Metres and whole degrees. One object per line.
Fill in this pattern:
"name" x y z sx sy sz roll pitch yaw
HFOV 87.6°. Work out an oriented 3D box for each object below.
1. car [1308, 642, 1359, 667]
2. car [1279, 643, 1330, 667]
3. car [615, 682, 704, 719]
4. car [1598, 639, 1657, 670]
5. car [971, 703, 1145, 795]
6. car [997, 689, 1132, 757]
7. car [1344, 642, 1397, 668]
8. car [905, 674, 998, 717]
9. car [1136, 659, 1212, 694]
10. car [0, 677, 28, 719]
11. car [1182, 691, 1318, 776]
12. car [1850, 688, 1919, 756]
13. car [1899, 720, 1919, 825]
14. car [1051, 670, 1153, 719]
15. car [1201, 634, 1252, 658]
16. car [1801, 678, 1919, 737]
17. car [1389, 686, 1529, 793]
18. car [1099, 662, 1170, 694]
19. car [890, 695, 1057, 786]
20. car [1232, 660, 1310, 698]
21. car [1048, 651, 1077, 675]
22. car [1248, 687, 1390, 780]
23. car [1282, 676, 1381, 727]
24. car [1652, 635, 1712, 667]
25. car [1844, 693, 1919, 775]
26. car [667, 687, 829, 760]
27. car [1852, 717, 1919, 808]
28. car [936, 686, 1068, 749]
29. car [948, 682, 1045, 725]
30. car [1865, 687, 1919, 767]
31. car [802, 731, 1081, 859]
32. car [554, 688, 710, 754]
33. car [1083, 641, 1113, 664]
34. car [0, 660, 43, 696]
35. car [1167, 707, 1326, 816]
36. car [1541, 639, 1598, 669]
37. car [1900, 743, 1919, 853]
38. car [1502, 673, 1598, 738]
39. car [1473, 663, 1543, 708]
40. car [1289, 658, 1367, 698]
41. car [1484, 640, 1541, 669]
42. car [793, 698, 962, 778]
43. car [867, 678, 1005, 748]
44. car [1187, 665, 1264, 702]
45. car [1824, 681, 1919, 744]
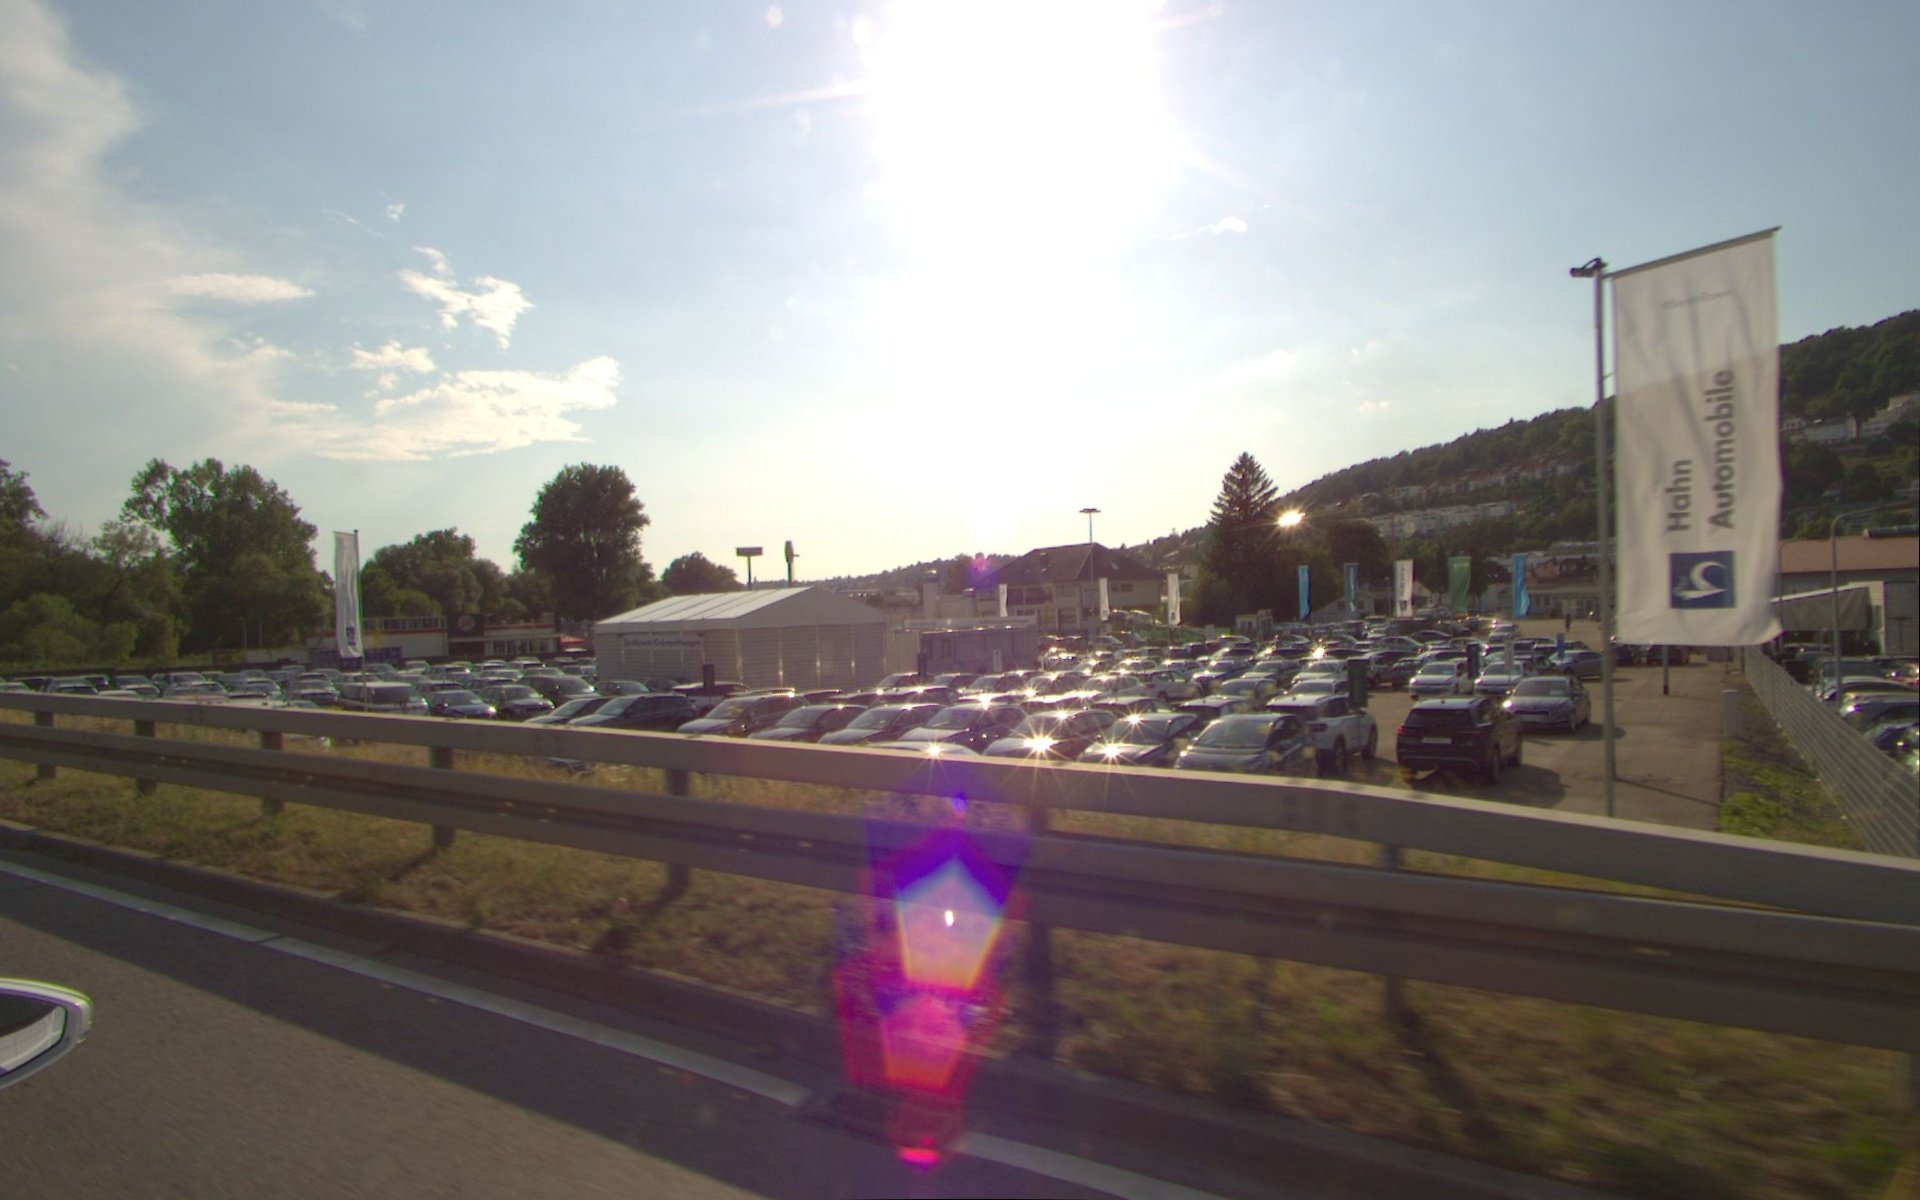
"car" 27.574 4.008 73.886 3.958 1.739 1.983 1 -2 -41
"car" 26.082 4.128 75.682 3.958 1.739 1.983 1 -2 -41
"car" -13.691 4.534 45.507 3.950 1.482 1.947 -3 -3 37
"car" 39.896 3.200 59.809 3.958 1.739 1.983 1 -2 -41
"car" 2.301 3.229 22.427 1.779 1.563 4.402 -2 -3 38
"car" 3.065 3.457 28.725 1.779 1.563 4.402 -2 -3 38
"car" 29.393 3.877 71.702 3.958 1.739 1.983 1 -2 -41
"car" -0.320 4.025 42.527 1.762 1.584 3.967 -3 -3 42
"car" 10.752 3.774 50.076 1.781 1.563 4.309 -3 -3 42
"car" -41.484 4.170 42.543 3.943 1.705 1.772 -2 -2 32
"car" 7.460 3.300 25.497 1.779 1.735 4.402 -2 -3 38
"car" 24.710 3.032 24.735 3.842 1.563 1.789 -3 -3 36
"car" 18.739 3.015 17.003 3.867 1.715 1.591 -3 -3 38
"car" 5.351 3.469 37.380 1.779 1.563 4.402 -2 -3 38
"car" 23.503 4.088 88.379 1.981 2.039 3.962 1 -3 -44
"car" 26.836 3.065 28.834 3.842 1.563 1.592 -3 -3 37
"car" 10.710 2.844 21.311 1.779 1.736 4.401 -2 -2 38
"car" 9.079 4.028 51.846 1.694 1.482 3.965 -3 -3 43
"car" 0.423 3.324 24.416 1.779 1.735 4.402 -2 -3 38
"car" 14.461 3.637 46.473 1.781 1.563 4.309 -3 -3 42
"car" 6.689 4.114 65.681 1.770 1.474 4.002 -1 -2 5
"car" 8.422 2.993 23.289 1.779 1.735 4.402 -2 -3 38
"car" 12.418 3.319 33.319 1.779 1.386 4.402 -3 -3 38
"car" 41.725 2.923 57.838 3.958 1.739 1.983 1 -2 -41
"car" 21.305 2.808 20.814 4.232 1.614 1.592 -3 -3 37
"car" -5.972 3.436 28.605 1.819 1.687 4.402 -2 -3 38
"car" 19.882 3.150 19.032 4.189 1.614 1.592 -3 -3 37
"car" 1.362 3.495 30.450 1.779 1.563 4.402 -2 -3 38
"car" 1.514 4.131 40.520 1.762 1.474 3.966 -3 -3 43
"car" 23.076 2.879 22.525 3.842 1.722 1.592 -3 -3 37
"car" -0.362 3.107 16.581 4.371 1.563 1.791 -2 -3 33
"car" -10.176 3.709 31.304 1.778 1.628 4.402 0 -1 38
"car" 9.427 3.571 68.505 1.770 1.474 4.002 -1 -2 5
"car" -47.969 3.928 50.462 3.947 1.705 1.770 -3 -3 35
"car" 5.605 2.991 19.267 1.763 1.563 3.963 -2 -3 34
"car" 37.590 3.316 61.732 3.958 1.739 1.983 1 -2 -41
"car" 17.049 3.163 15.347 3.621 1.631 1.592 -3 -3 36
"car" 17.079 2.978 28.886 1.779 1.563 4.402 -2 -3 38
"car" 22.030 3.387 40.185 1.779 1.563 4.315 -2 -3 38
"car" 16.394 3.420 44.490 1.781 1.563 4.309 -3 -3 42
"car" 35.155 3.427 63.653 3.958 1.739 1.983 1 -2 -41
"car" -2.010 3.436 25.596 1.779 1.563 4.402 -2 -3 38
"car" -0.661 3.464 31.032 1.781 1.724 4.401 -7 -4 38
"car" 12.771 3.977 48.079 1.781 1.563 4.309 -3 -3 42
"car" 25.760 2.993 26.750 3.842 1.563 1.789 -3 -3 36
